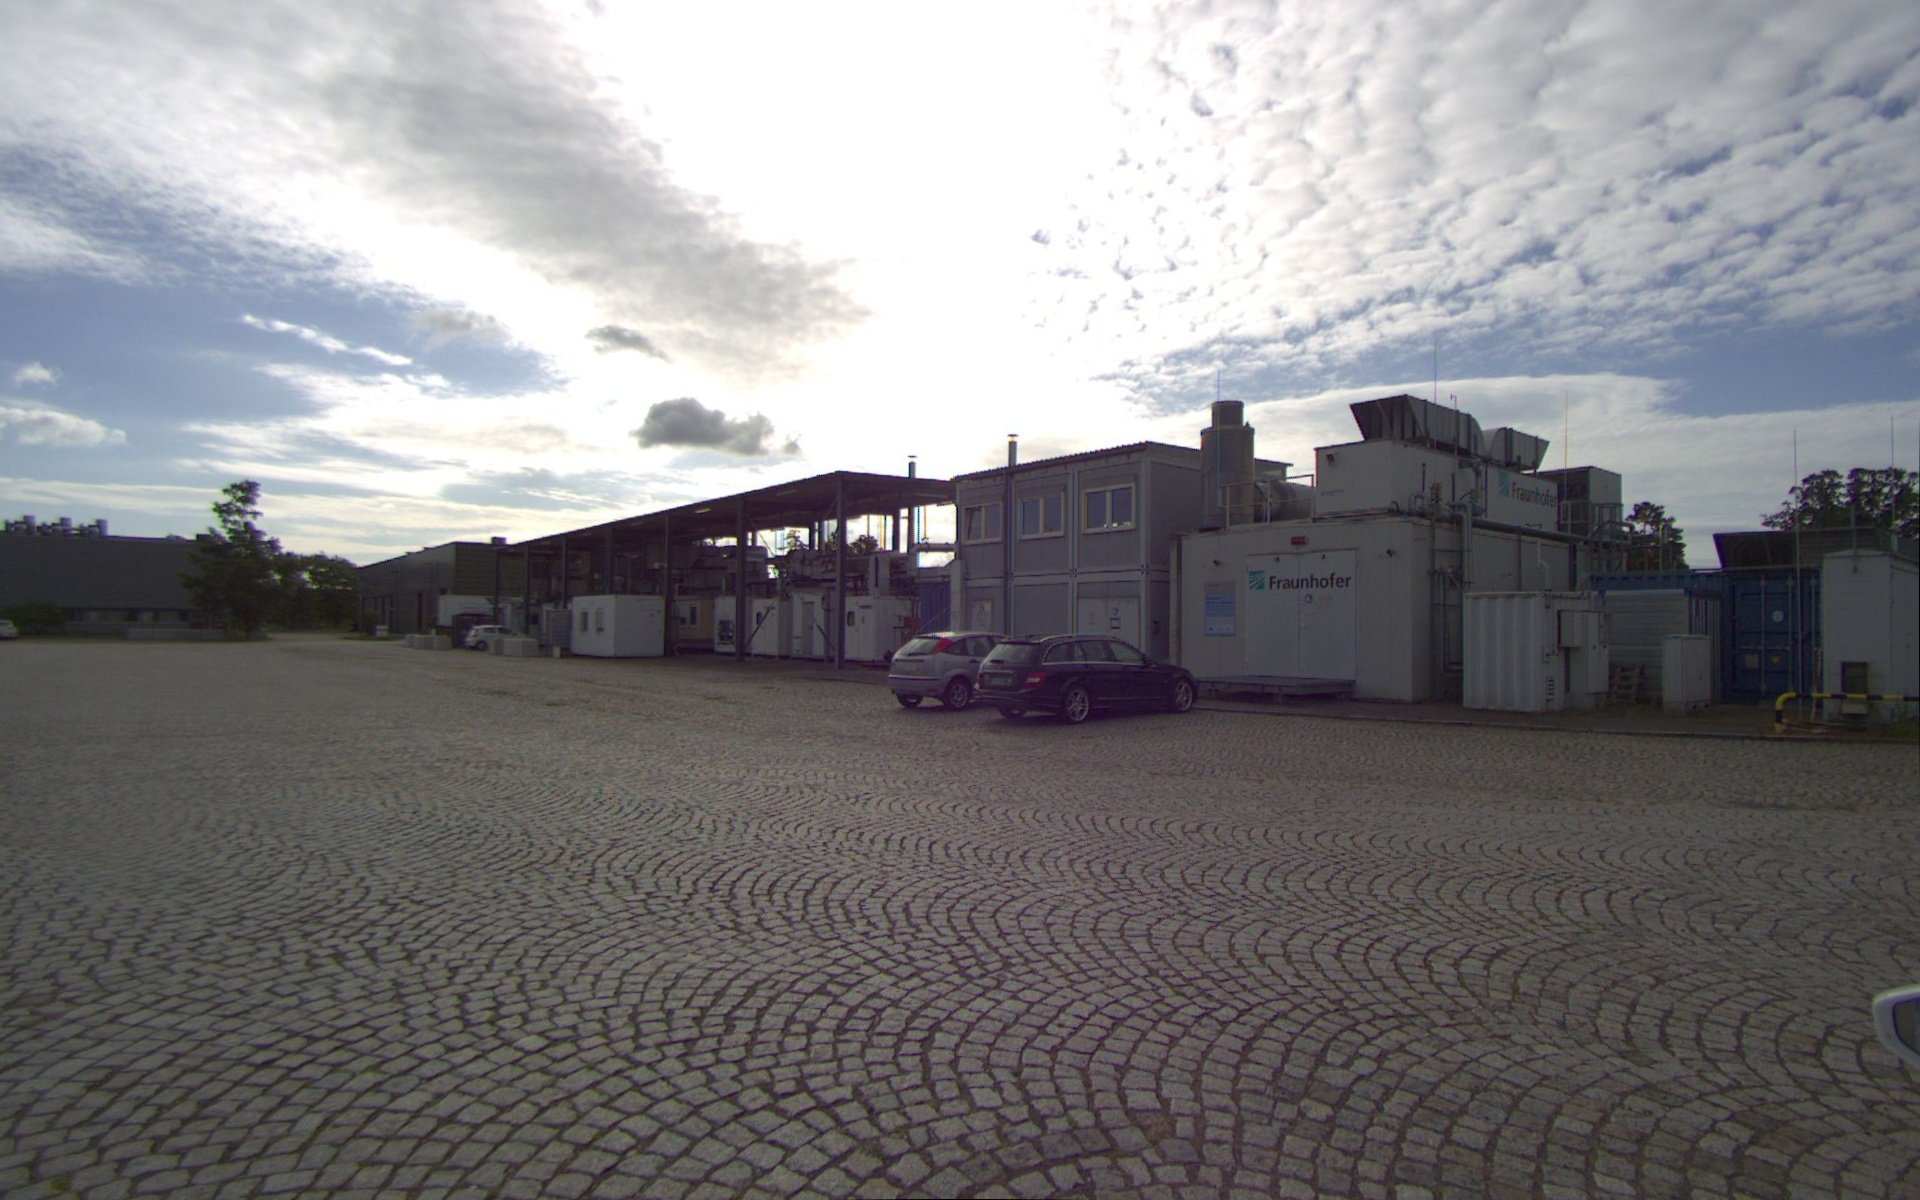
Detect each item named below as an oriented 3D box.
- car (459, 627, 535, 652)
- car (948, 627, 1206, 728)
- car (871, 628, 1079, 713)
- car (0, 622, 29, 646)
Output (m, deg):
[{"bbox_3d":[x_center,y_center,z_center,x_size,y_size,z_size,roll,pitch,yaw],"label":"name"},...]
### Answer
[{"bbox_3d":[-29.059,2.483,63.104,3.969,1.512,1.977,2,-2,-41],"label":"car"},{"bbox_3d":[2.157,1.268,17.841,4.491,1.472,2.020,0,-1,-40],"label":"car"},{"bbox_3d":[0.359,1.343,20.403,4.015,1.495,1.890,0,-1,-41],"label":"car"},{"bbox_3d":[-74.452,2.674,78.550,2.136,1.834,3.954,2,-2,-40],"label":"car"}]
